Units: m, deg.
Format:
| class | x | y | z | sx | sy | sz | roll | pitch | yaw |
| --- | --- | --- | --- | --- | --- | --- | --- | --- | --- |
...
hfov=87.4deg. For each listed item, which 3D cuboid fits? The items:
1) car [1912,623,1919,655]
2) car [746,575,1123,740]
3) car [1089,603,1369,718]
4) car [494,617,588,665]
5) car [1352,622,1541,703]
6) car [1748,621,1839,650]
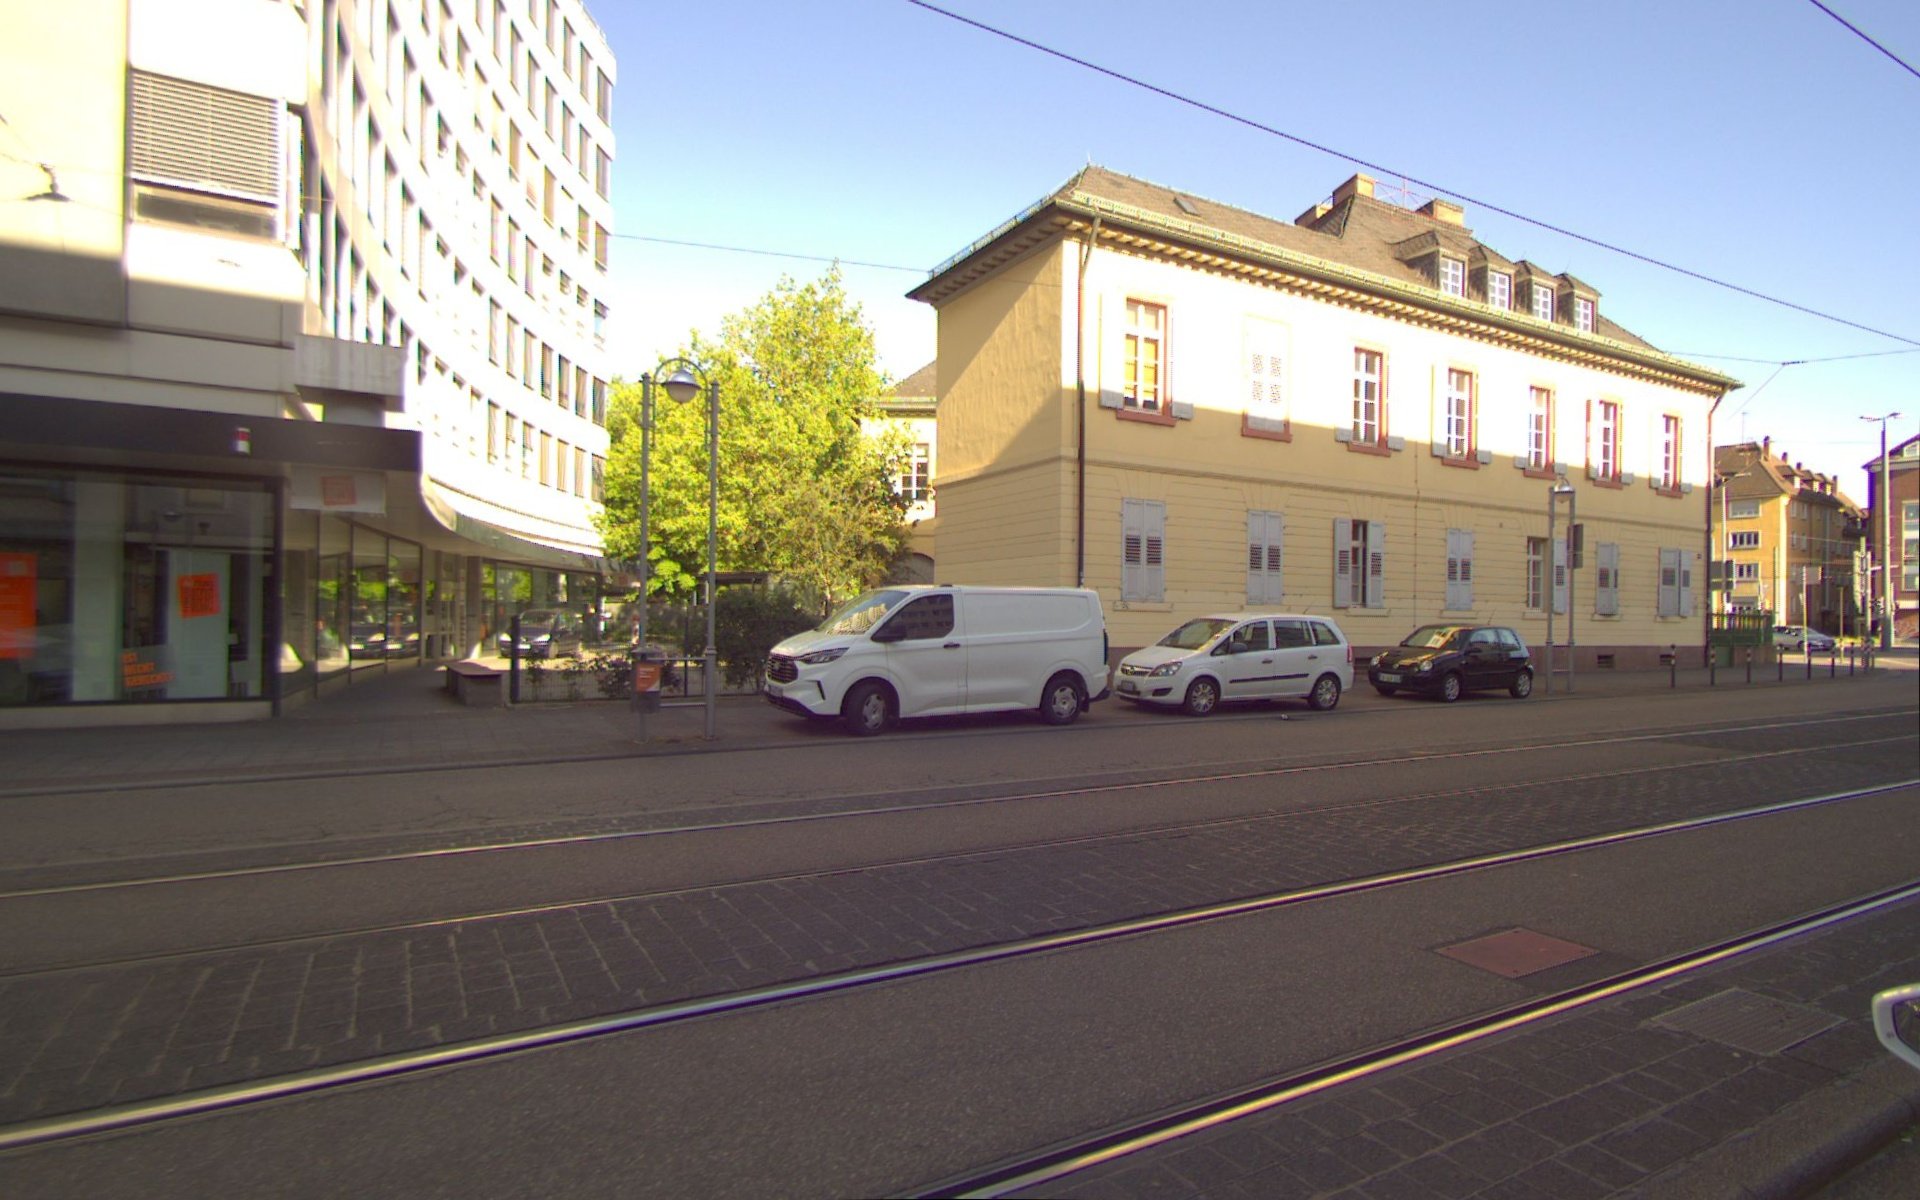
| class | x | y | z | sx | sy | sz | roll | pitch | yaw |
| --- | --- | --- | --- | --- | --- | --- | --- | --- | --- |
| car | 46.941 | 1.868 | 47.926 | 4.894 | 1.515 | 1.863 | 2 | -2 | -42 |
| car | -0.290 | 0.737 | 14.343 | 5.037 | 2.001 | 1.984 | 2 | 1 | -30 |
| car | 4.630 | 0.989 | 17.175 | 4.589 | 1.708 | 1.801 | 2 | 1 | -27 |
| car | -13.745 | 1.306 | 33.166 | 1.791 | 1.439 | 3.996 | 2 | -1 | -7 |
| car | 9.762 | 1.209 | 20.113 | 3.676 | 1.419 | 1.606 | 2 | 1 | -30 |
| car | 53.855 | 2.269 | 65.019 | 1.781 | 1.577 | 4.604 | 2 | 1 | -5 |
